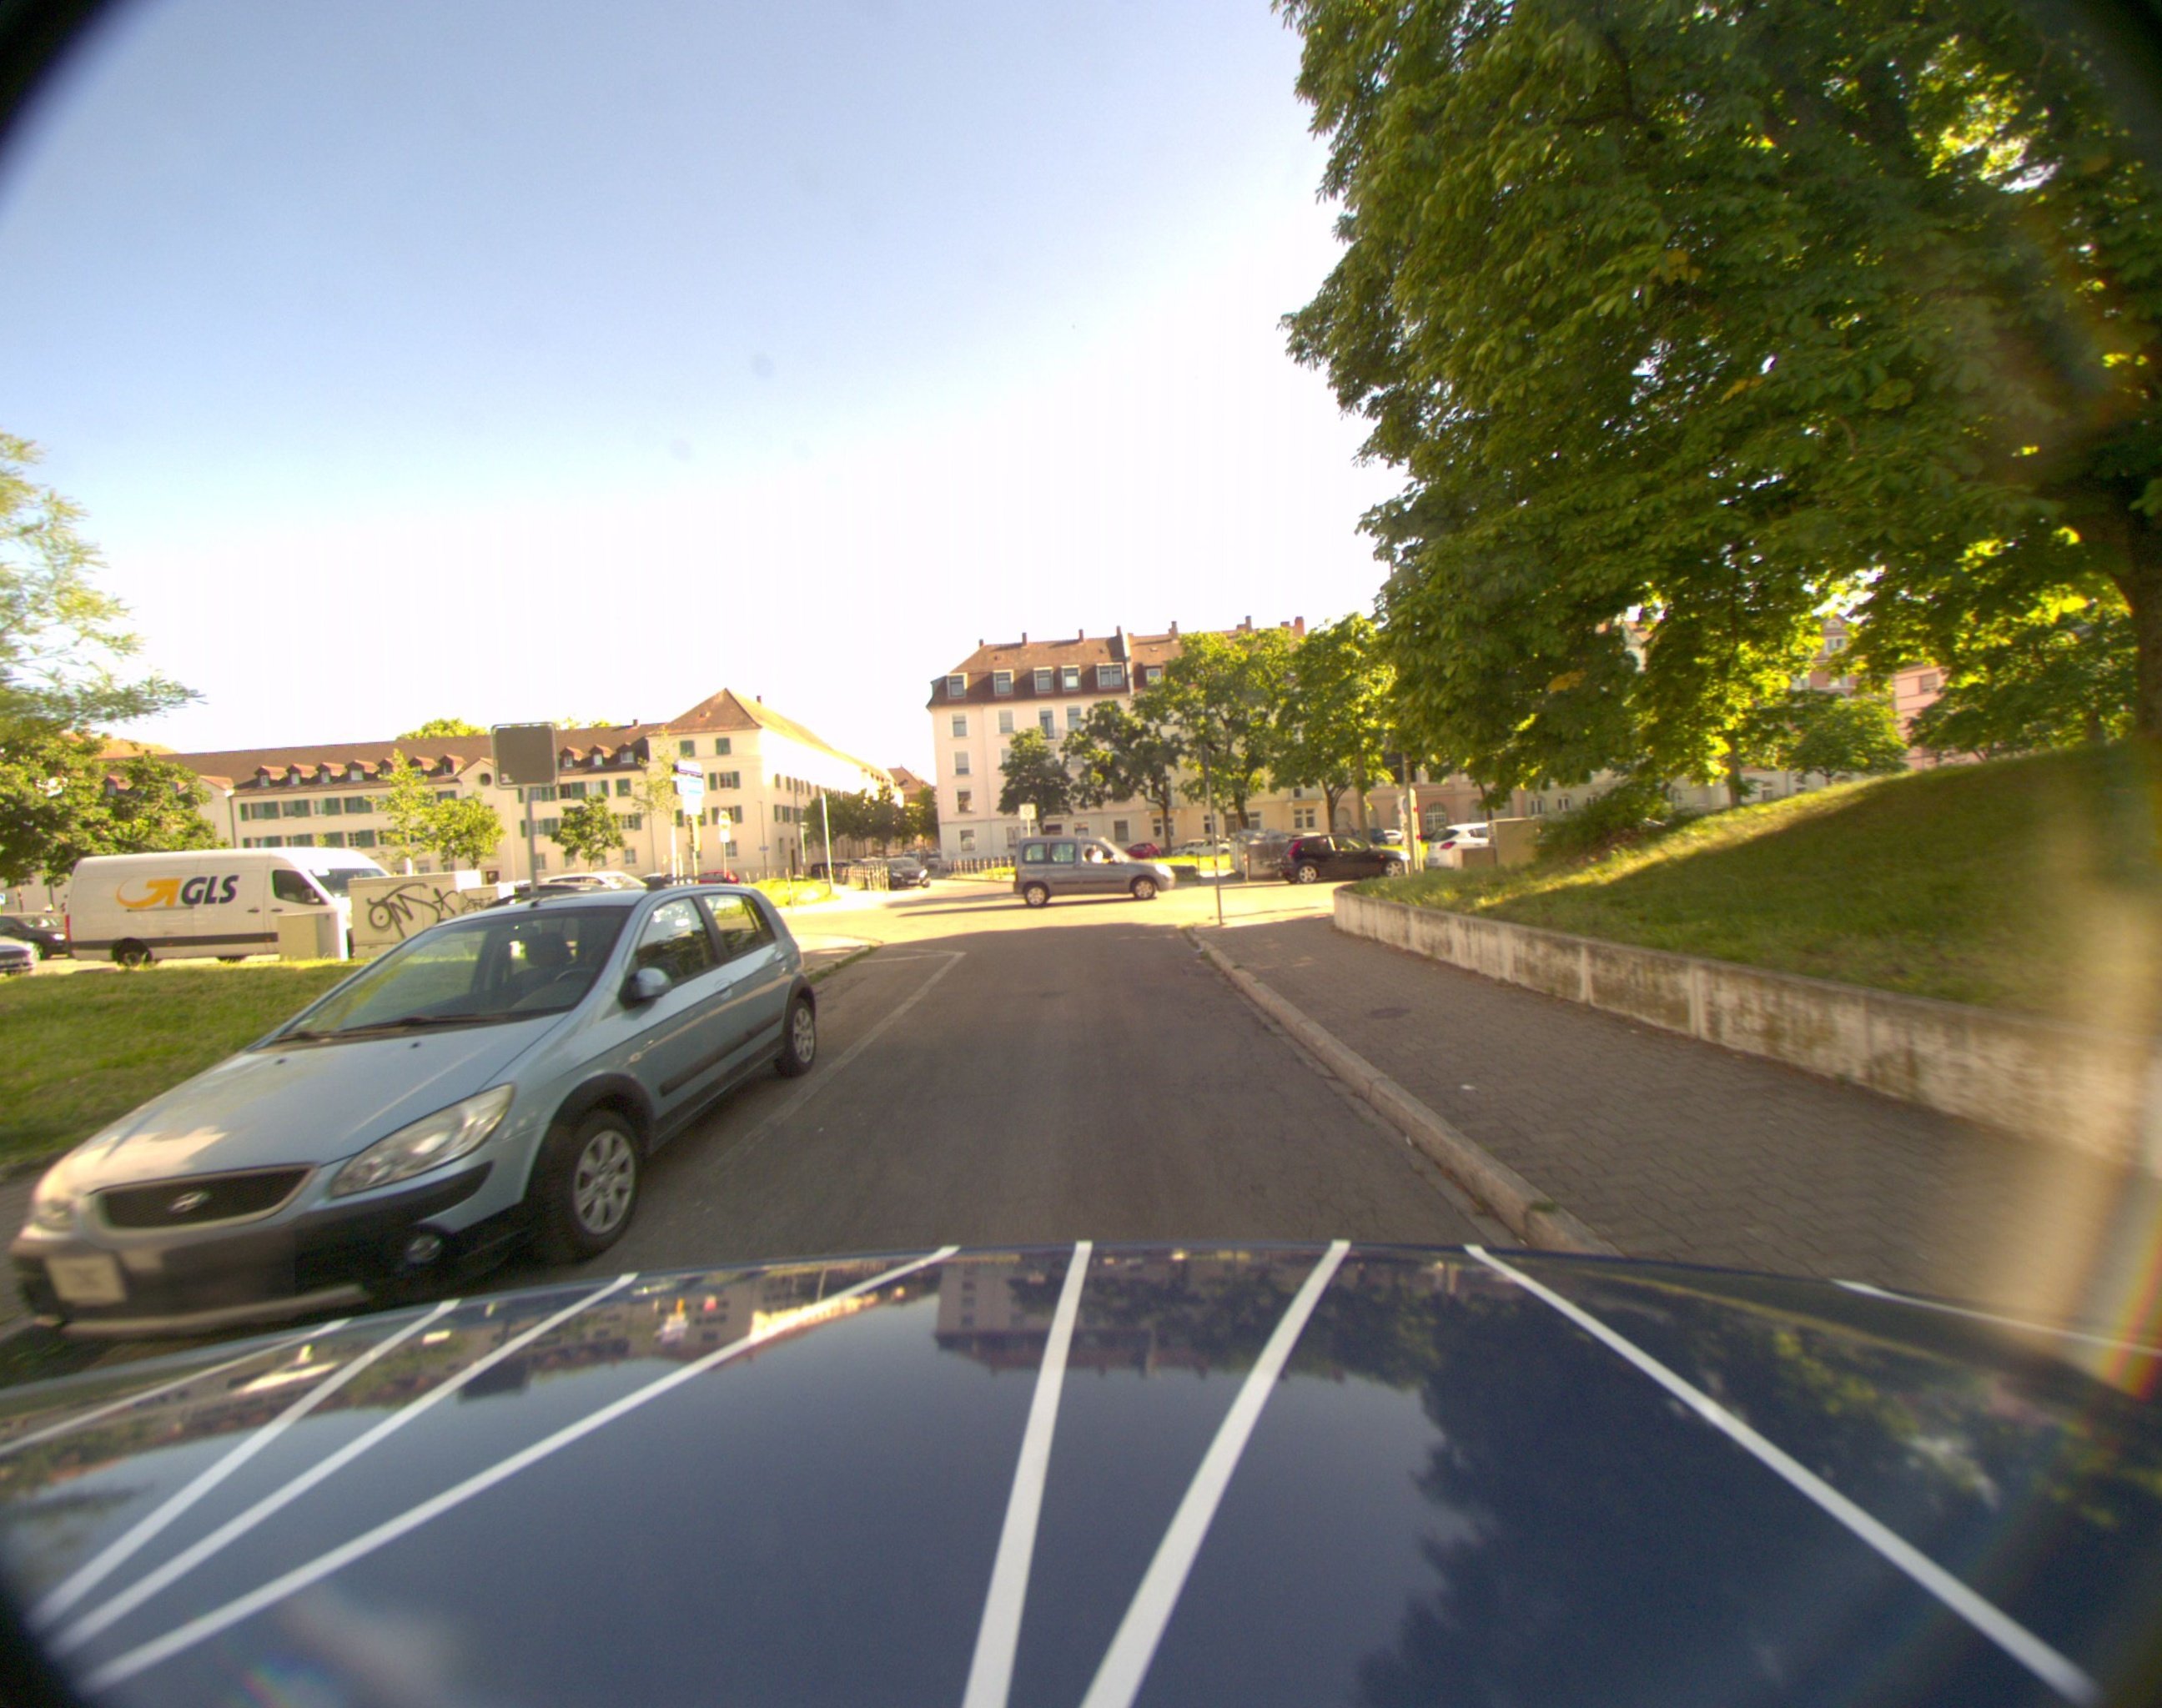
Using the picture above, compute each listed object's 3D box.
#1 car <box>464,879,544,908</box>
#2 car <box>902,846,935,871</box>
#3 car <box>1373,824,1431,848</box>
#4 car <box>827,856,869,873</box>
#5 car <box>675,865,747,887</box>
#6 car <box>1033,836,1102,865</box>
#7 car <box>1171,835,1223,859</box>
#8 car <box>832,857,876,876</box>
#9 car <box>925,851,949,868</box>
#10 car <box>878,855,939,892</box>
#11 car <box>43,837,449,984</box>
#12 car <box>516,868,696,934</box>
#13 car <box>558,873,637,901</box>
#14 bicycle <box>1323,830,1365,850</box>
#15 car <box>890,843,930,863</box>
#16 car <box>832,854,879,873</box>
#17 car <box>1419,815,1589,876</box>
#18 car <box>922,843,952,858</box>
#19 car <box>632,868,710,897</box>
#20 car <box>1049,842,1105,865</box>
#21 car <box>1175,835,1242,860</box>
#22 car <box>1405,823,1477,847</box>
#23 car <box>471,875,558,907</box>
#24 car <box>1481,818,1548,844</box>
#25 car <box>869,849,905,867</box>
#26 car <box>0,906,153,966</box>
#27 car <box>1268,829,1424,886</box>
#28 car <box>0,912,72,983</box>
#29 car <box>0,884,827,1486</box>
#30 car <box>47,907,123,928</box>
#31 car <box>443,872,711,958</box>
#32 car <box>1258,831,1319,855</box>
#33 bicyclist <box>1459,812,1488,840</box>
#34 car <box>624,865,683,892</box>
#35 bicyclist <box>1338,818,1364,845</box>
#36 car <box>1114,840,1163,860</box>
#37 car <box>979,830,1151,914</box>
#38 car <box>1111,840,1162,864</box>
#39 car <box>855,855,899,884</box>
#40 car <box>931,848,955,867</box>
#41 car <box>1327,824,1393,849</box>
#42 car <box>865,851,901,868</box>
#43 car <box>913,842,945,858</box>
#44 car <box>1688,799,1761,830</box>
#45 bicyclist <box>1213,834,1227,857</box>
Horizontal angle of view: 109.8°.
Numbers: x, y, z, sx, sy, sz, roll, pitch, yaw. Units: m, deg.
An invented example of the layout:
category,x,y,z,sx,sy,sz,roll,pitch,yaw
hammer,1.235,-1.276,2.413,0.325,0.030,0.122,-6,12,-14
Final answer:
category,x,y,z,sx,sy,sz,roll,pitch,yaw
car,-44.431,3.045,58.583,4.255,1.810,2.242,-4,1,-1
car,-14.994,0.392,70.441,2.139,2.002,4.575,-4,1,-2
car,26.621,-1.474,63.060,3.996,1.691,1.852,-4,1,3
car,-23.488,1.054,76.583,3.614,1.512,1.708,-4,1,-3
car,-31.026,1.864,63.862,4.954,1.476,2.000,-4,1,0
car,-1.019,-0.274,58.085,5.095,1.862,2.087,-4,1,-1
car,9.660,-0.568,63.446,3.997,1.747,1.868,-4,1,0
car,-22.012,1.225,73.720,3.665,1.513,1.713,-4,1,0
car,-15.317,0.567,81.135,1.937,1.560,3.881,-4,1,-3
car,-8.025,0.852,35.084,1.922,1.401,4.340,-6,2,-23
car,-18.539,1.215,17.097,6.835,2.697,2.150,-4,0,2
car,-14.313,1.384,23.040,4.283,1.637,1.762,-4,0,2
car,-40.733,2.761,64.090,5.154,1.875,2.160,-4,1,1
bicycle,18.596,-1.014,53.761,2.633,1.245,0.812,-4,1,-2
car,-23.877,-0.114,106.203,4.953,2.505,1.955,-4,1,-3
car,-23.391,0.944,78.821,4.240,1.692,1.706,-4,1,-1
car,12.174,-0.217,22.075,3.871,1.486,1.783,-3,-1,2
car,-25.340,-0.676,133.831,4.953,2.381,1.955,-4,1,-3
car,-31.443,2.177,58.366,4.702,1.810,2.164,-4,1,-1
car,-0.357,-0.058,63.397,4.450,1.578,1.999,-4,1,-3
car,9.655,-0.503,57.626,4.695,1.553,1.699,-4,1,-1
car,27.210,-1.416,57.512,4.525,1.540,1.761,-4,1,-1
car,-47.925,3.091,64.352,5.254,2.203,2.538,-4,1,-1
car,32.747,-1.756,57.404,4.078,1.677,1.636,-4,1,-1
car,-23.107,0.488,90.503,3.711,1.824,1.955,-4,1,-3
car,-31.896,2.549,23.320,4.467,1.510,1.880,-4,-1,0
car,7.673,0.127,22.271,3.912,1.416,1.754,-3,-1,2
car,-26.444,2.304,17.327,4.199,1.458,1.854,-4,2,0
car,-2.842,1.032,4.094,1.657,1.421,3.898,-4,1,-2
car,-84.357,5.385,64.398,3.997,1.348,1.774,-4,1,0
car,-10.880,1.288,16.656,4.495,1.473,1.965,-4,0,0
car,15.708,-0.842,57.597,4.078,1.518,1.699,-4,1,-1
bicyclist,27.229,-1.939,52.684,1.448,1.827,0.944,-3,1,0
car,-35.996,2.039,63.972,3.894,2.002,1.670,-3,1,1
bicyclist,19.066,-1.611,53.678,1.449,1.827,0.944,-3,1,-4
car,4.354,-0.309,57.663,3.524,1.272,1.699,-4,1,-1
car,-0.384,0.427,19.733,4.153,1.780,1.903,-4,1,1
car,4.603,-0.204,63.561,4.050,1.742,2.000,-4,1,2
car,-12.578,0.914,46.635,1.931,1.567,4.340,-4,1,-23
car,-15.595,0.343,86.111,1.999,1.962,5.050,-4,1,-4
car,21.024,-1.328,57.334,4.352,1.540,1.636,-4,1,-1
car,-22.906,0.631,88.116,3.614,1.631,1.831,-4,1,-3
car,-25.218,-0.646,126.193,4.953,2.381,1.955,-4,1,-3
car,53.186,-3.270,62.849,4.461,2.246,1.781,-4,1,-1
bicyclist,10.846,-0.662,59.279,0.879,1.681,0.631,-4,1,-3
